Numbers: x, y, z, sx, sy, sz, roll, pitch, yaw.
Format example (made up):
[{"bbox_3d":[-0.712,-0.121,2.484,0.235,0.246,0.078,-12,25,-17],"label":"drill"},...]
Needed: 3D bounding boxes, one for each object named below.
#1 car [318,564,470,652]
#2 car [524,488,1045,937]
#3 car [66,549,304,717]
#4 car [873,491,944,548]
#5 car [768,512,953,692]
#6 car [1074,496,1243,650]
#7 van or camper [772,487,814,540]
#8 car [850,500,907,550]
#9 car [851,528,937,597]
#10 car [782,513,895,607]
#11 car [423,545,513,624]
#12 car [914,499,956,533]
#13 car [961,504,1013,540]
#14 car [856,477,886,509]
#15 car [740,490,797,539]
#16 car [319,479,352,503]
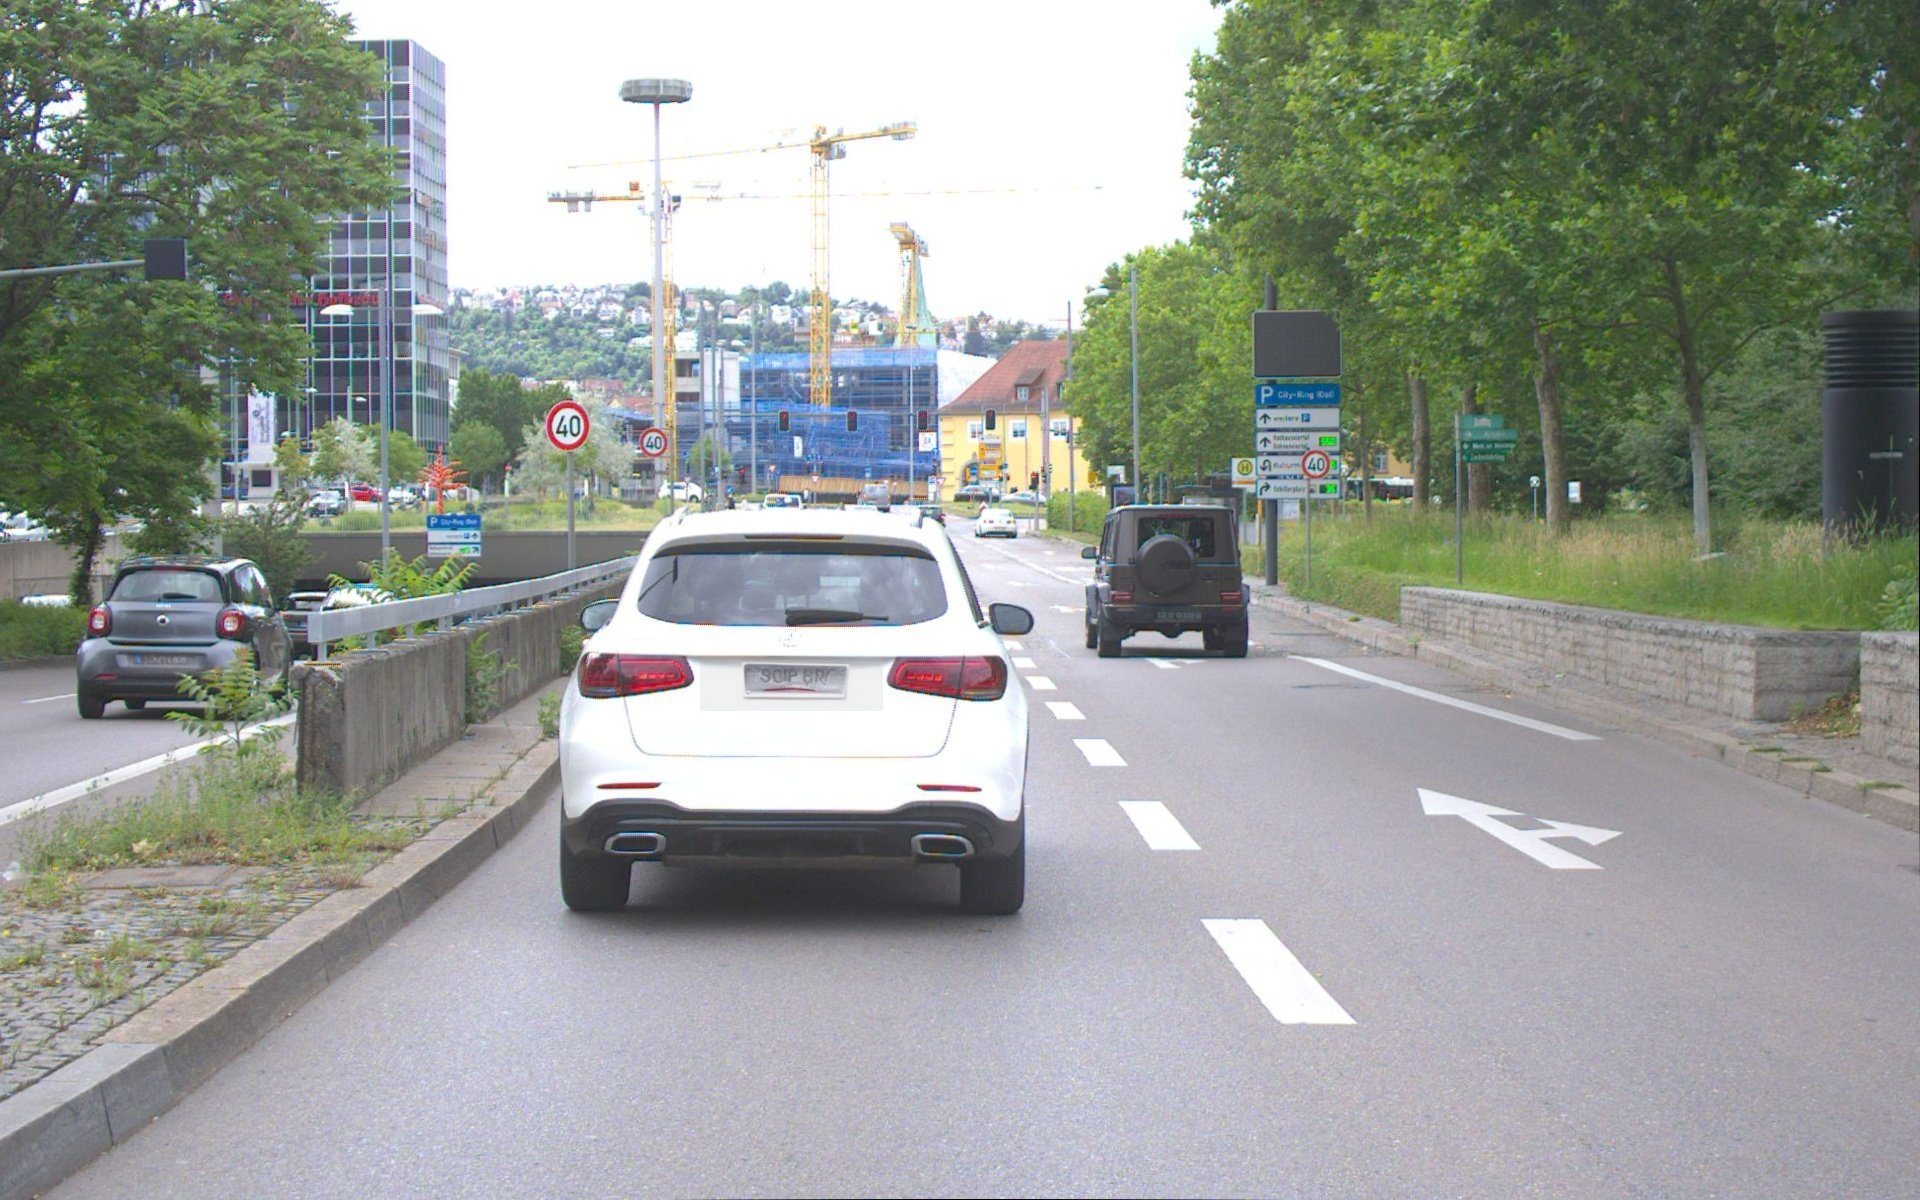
[{"bbox_3d":[-9.096,0.103,55.527,1.719,1.288,4.000,2,1,0],"label":"car"},{"bbox_3d":[-0.771,0.409,14.891,1.940,1.678,4.001,0,0,-3],"label":"car"},{"bbox_3d":[-7.442,0.289,33.280,1.627,1.504,3.540,1,0,-3],"label":"car"},{"bbox_3d":[-1.628,-2.507,107.674,1.993,1.656,4.000,2,0,-3],"label":"car"},{"bbox_3d":[-0.998,0.020,34.116,1.672,1.622,4.000,2,0,-2],"label":"car"},{"bbox_3d":[2.610,-0.359,46.159,1.977,1.887,4.707,2,0,1],"label":"car"},{"bbox_3d":[-7.792,-4.031,160.324,1.922,2.312,4.000,1,-1,-3],"label":"van or camper"},{"bbox_3d":[-3.112,-2.853,131.098,1.993,1.774,4.000,2,0,-3],"label":"car"},{"bbox_3d":[-1.621,-0.924,83.151,1.922,1.596,4.001,1,1,-3],"label":"car"},{"bbox_3d":[-2.196,-0.735,61.213,1.922,1.596,4.001,1,1,-3],"label":"car"},{"bbox_3d":[-11.241,-0.376,78.786,1.719,1.673,4.001,2,1,-4],"label":"car"},{"bbox_3d":[-1.226,-4.079,167.172,1.719,1.579,4.001,2,1,-4],"label":"car"},{"bbox_3d":[1.302,-3.816,168.361,1.993,1.612,4.001,2,0,-7],"label":"car"},{"bbox_3d":[-6.053,-7.232,233.150,1.800,2.007,4.000,2,0,-3],"label":"car"},{"bbox_3d":[-7.431,-3.312,133.495,1.993,1.751,4.000,2,0,-1],"label":"car"},{"bbox_3d":[-38.827,-6.771,213.900,1.831,1.355,3.869,2,0,-8],"label":"car"}]
